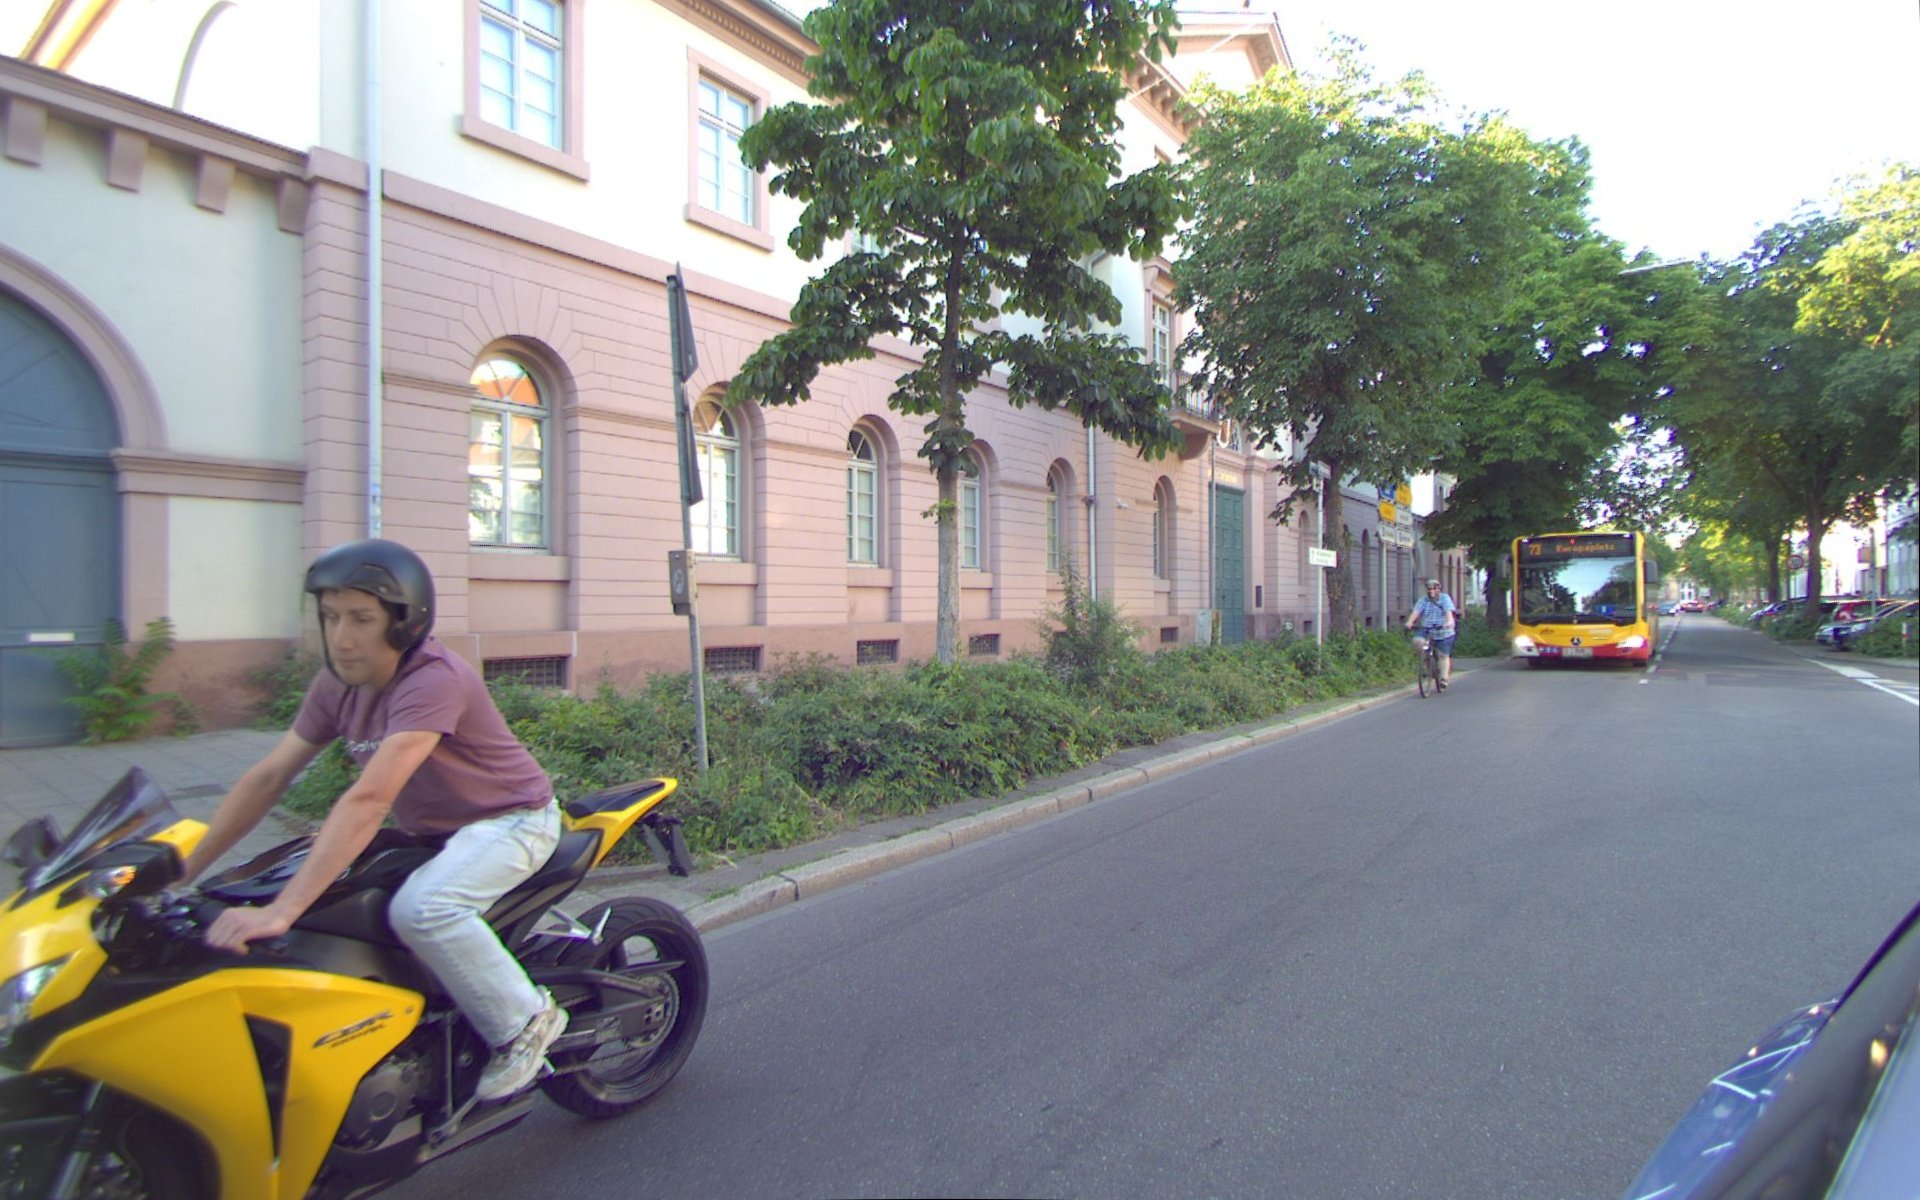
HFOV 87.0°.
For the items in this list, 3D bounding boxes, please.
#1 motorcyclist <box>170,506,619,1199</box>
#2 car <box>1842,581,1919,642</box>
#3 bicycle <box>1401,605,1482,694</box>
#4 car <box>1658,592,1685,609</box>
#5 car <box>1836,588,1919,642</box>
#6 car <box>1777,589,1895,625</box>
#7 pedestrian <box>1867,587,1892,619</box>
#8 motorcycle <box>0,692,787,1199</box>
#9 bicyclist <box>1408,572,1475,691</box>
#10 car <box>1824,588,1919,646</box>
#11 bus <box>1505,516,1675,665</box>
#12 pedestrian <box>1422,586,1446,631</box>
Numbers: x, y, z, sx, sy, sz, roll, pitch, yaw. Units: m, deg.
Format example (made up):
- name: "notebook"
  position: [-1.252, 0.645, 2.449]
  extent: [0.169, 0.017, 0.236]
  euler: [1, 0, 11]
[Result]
- name: "motorcyclist"
  position: [-1.398, 0.539, 2.520]
  extent: [0.788, 1.438, 0.690]
  euler: [-2, -1, 34]
- name: "car"
  position: [26.632, 0.295, 27.376]
  extent: [3.974, 1.635, 1.805]
  euler: [0, 0, 36]
- name: "bicycle"
  position: [7.869, 0.774, 16.501]
  extent: [0.779, 1.347, 2.051]
  euler: [-3, -2, 36]
- name: "car"
  position: [72.562, 0.065, 103.149]
  extent: [2.072, 1.719, 3.946]
  euler: [0, 0, 38]
- name: "car"
  position: [29.649, 0.448, 31.068]
  extent: [3.974, 1.635, 1.702]
  euler: [0, 0, 36]
- name: "car"
  position: [40.868, 0.326, 47.350]
  extent: [3.974, 1.635, 1.702]
  euler: [0, 0, 36]
- name: "pedestrian"
  position: [50.926, 0.168, 56.080]
  extent: [0.889, 1.793, 1.008]
  euler: [0, 0, 36]
- name: "motorcycle"
  position: [-1.397, 0.902, 2.509]
  extent: [0.788, 1.175, 1.943]
  euler: [-2, -1, 33]
- name: "bicyclist"
  position: [7.841, 0.505, 16.479]
  extent: [0.779, 1.863, 0.816]
  euler: [-3, -2, 37]
- name: "car"
  position: [27.852, 0.487, 29.419]
  extent: [3.974, 1.635, 1.702]
  euler: [0, 0, 36]
- name: "bus"
  position: [16.639, -0.167, 26.193]
  extent: [2.697, 3.039, 11.922]
  euler: [-3, -1, 36]
- name: "pedestrian"
  position: [20.201, 0.355, 43.117]
  extent: [0.795, 1.855, 0.918]
  euler: [0, -1, 35]
